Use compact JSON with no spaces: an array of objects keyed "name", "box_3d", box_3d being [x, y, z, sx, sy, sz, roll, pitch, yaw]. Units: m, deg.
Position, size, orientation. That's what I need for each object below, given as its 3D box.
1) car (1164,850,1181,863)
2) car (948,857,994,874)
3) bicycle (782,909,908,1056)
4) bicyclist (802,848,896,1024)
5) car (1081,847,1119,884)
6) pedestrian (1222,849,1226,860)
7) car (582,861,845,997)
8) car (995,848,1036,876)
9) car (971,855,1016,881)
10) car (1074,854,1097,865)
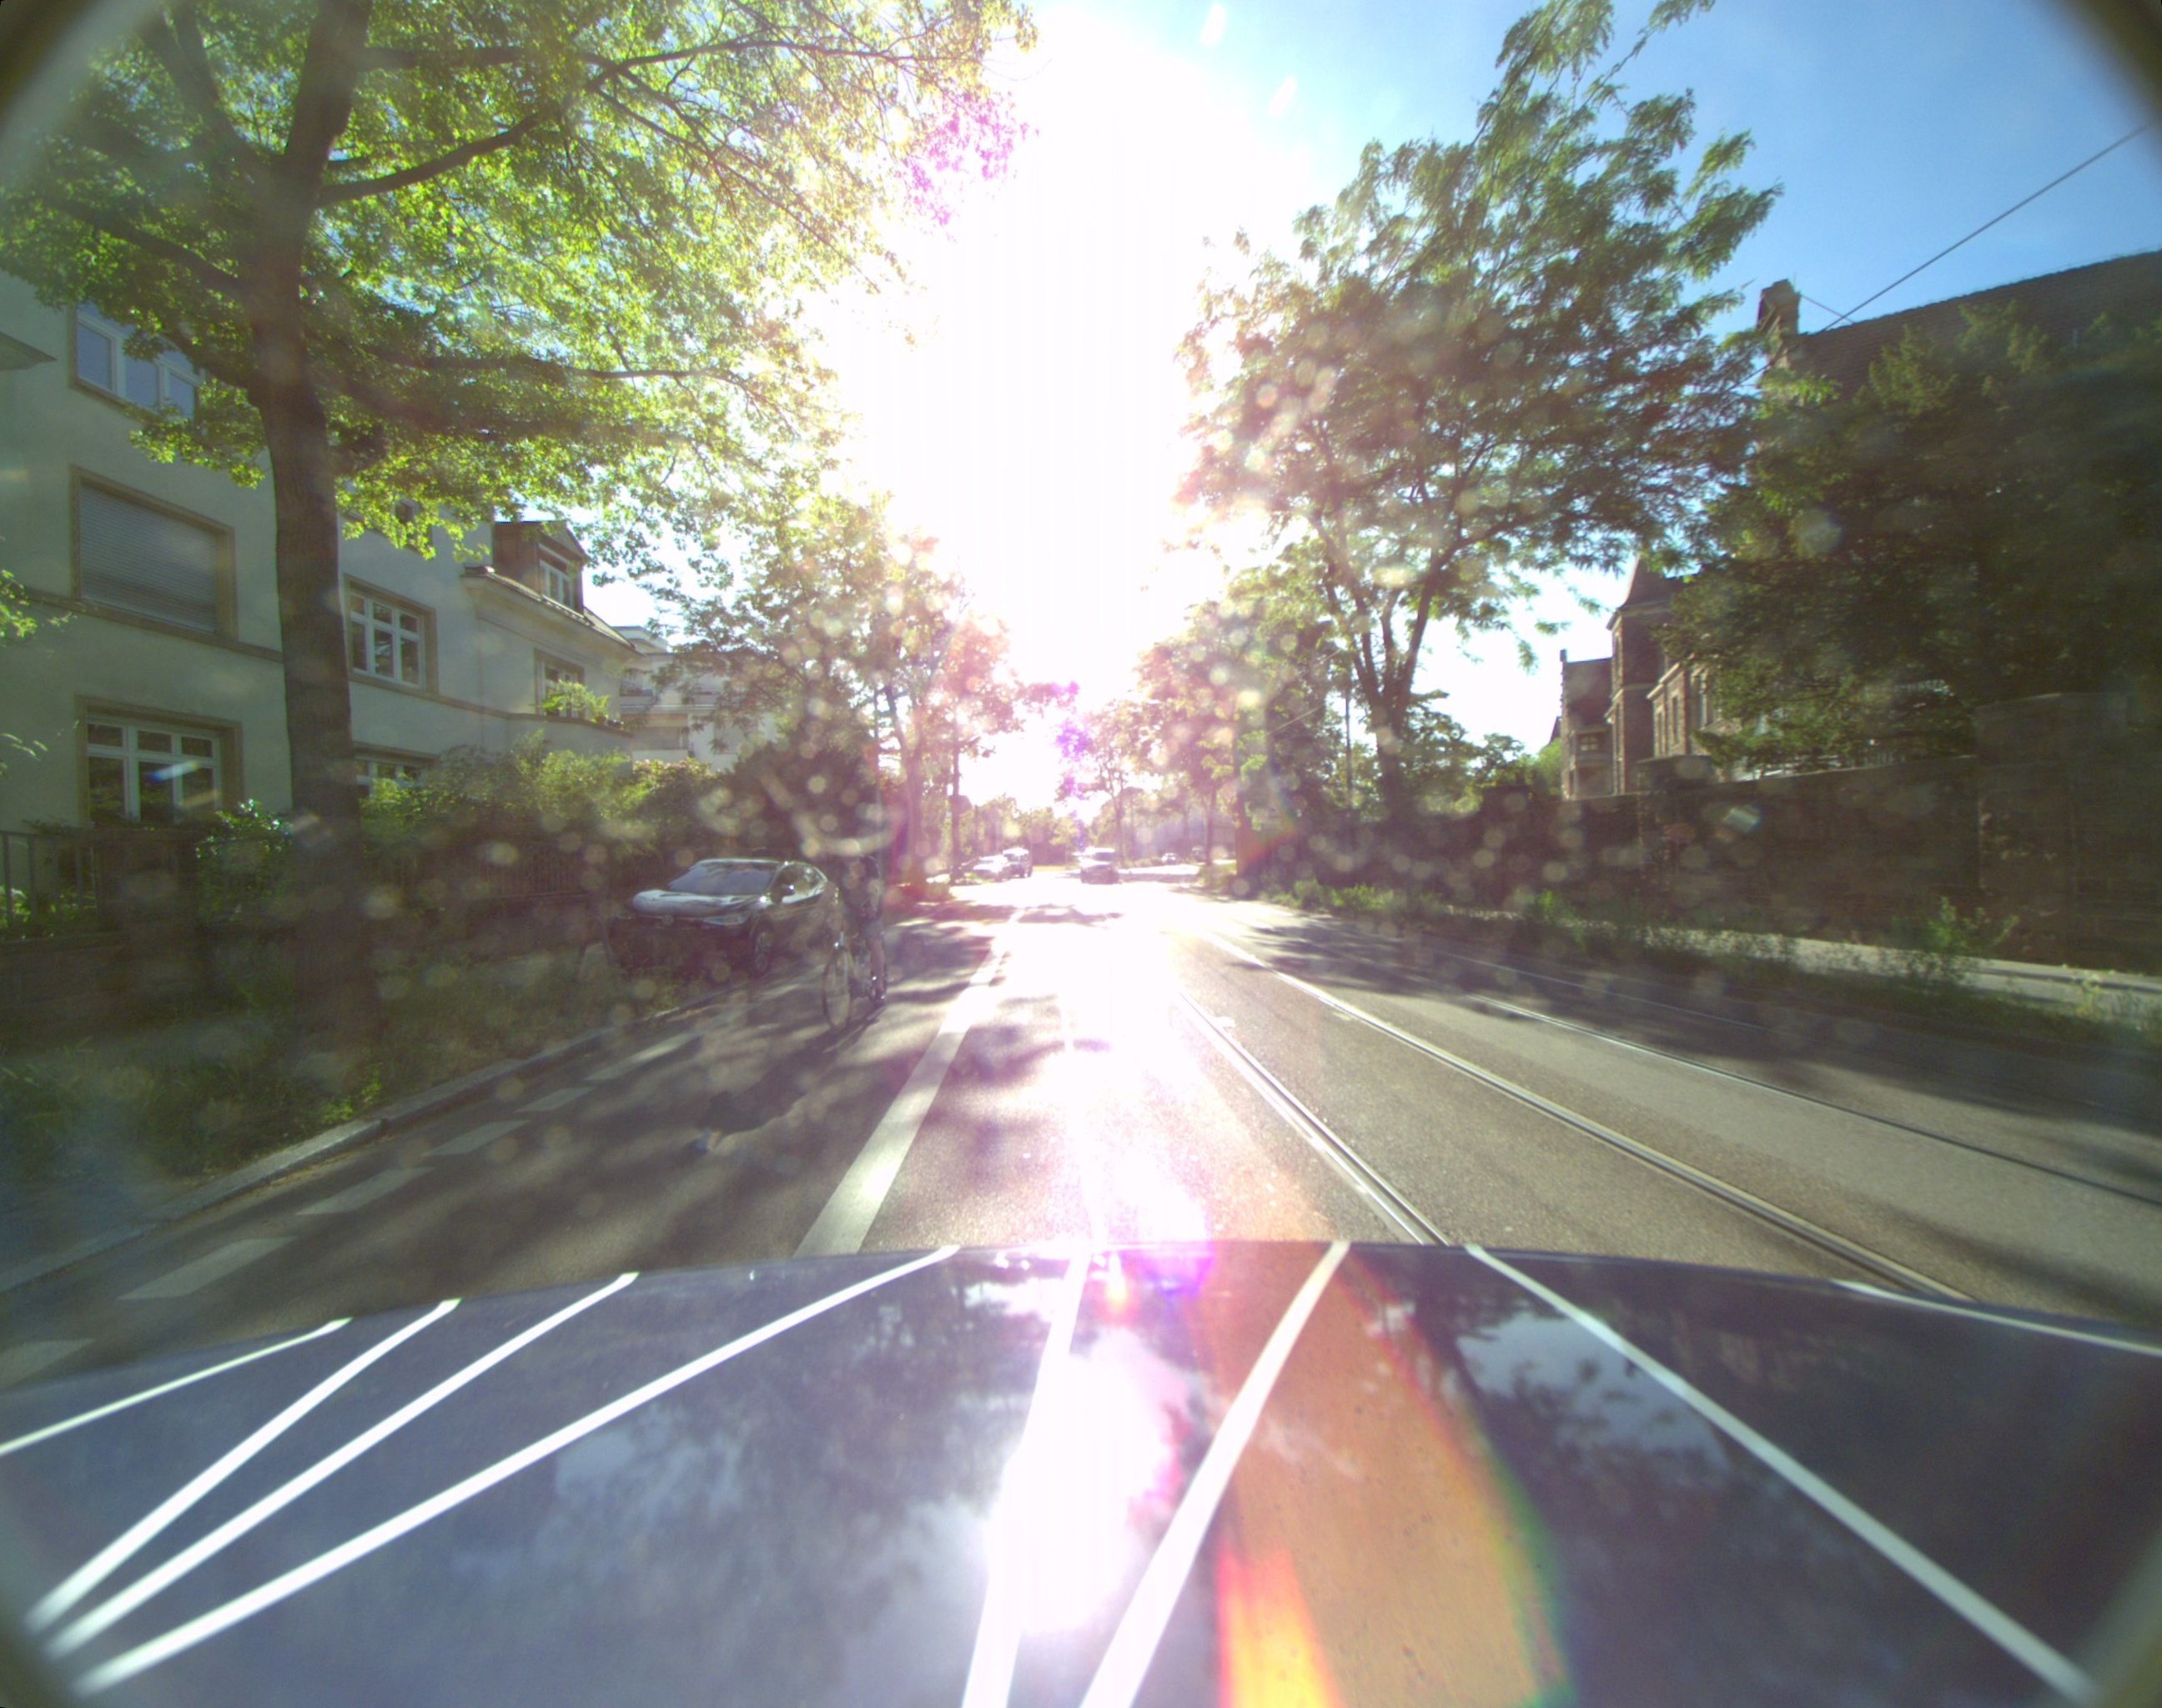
[{"name":"car","box_3d":[11.919,0.310,98.724,1.997,1.539,4.002,-2,0,8]},{"name":"car","box_3d":[-10.039,1.044,69.543,3.998,1.433,1.813,-2,0,-3]},{"name":"bicycle","box_3d":[-2.235,1.174,7.443,0.588,1.105,1.855,-2,0,1]},{"name":"bicyclist","box_3d":[-2.254,0.767,7.453,0.644,1.632,0.665,-2,1,1]},{"name":"car","box_3d":[0.982,0.547,40.623,1.877,1.805,4.967,-2,0,1]},{"name":"pedestrian","box_3d":[22.804,0.068,121.397,0.524,1.823,0.587,-1,1,15]},{"name":"car","box_3d":[-5.199,0.948,11.512,1.919,1.590,4.258,2,0,-1]},{"name":"car","box_3d":[-4.401,0.504,51.693,1.900,1.775,4.670,-1,0,6]},{"name":"car","box_3d":[-5.163,0.793,45.338,1.901,1.402,4.260,-1,0,4]},{"name":"car","box_3d":[0.758,0.912,128.793,3.908,1.683,1.905,-1,1,-1]}]
